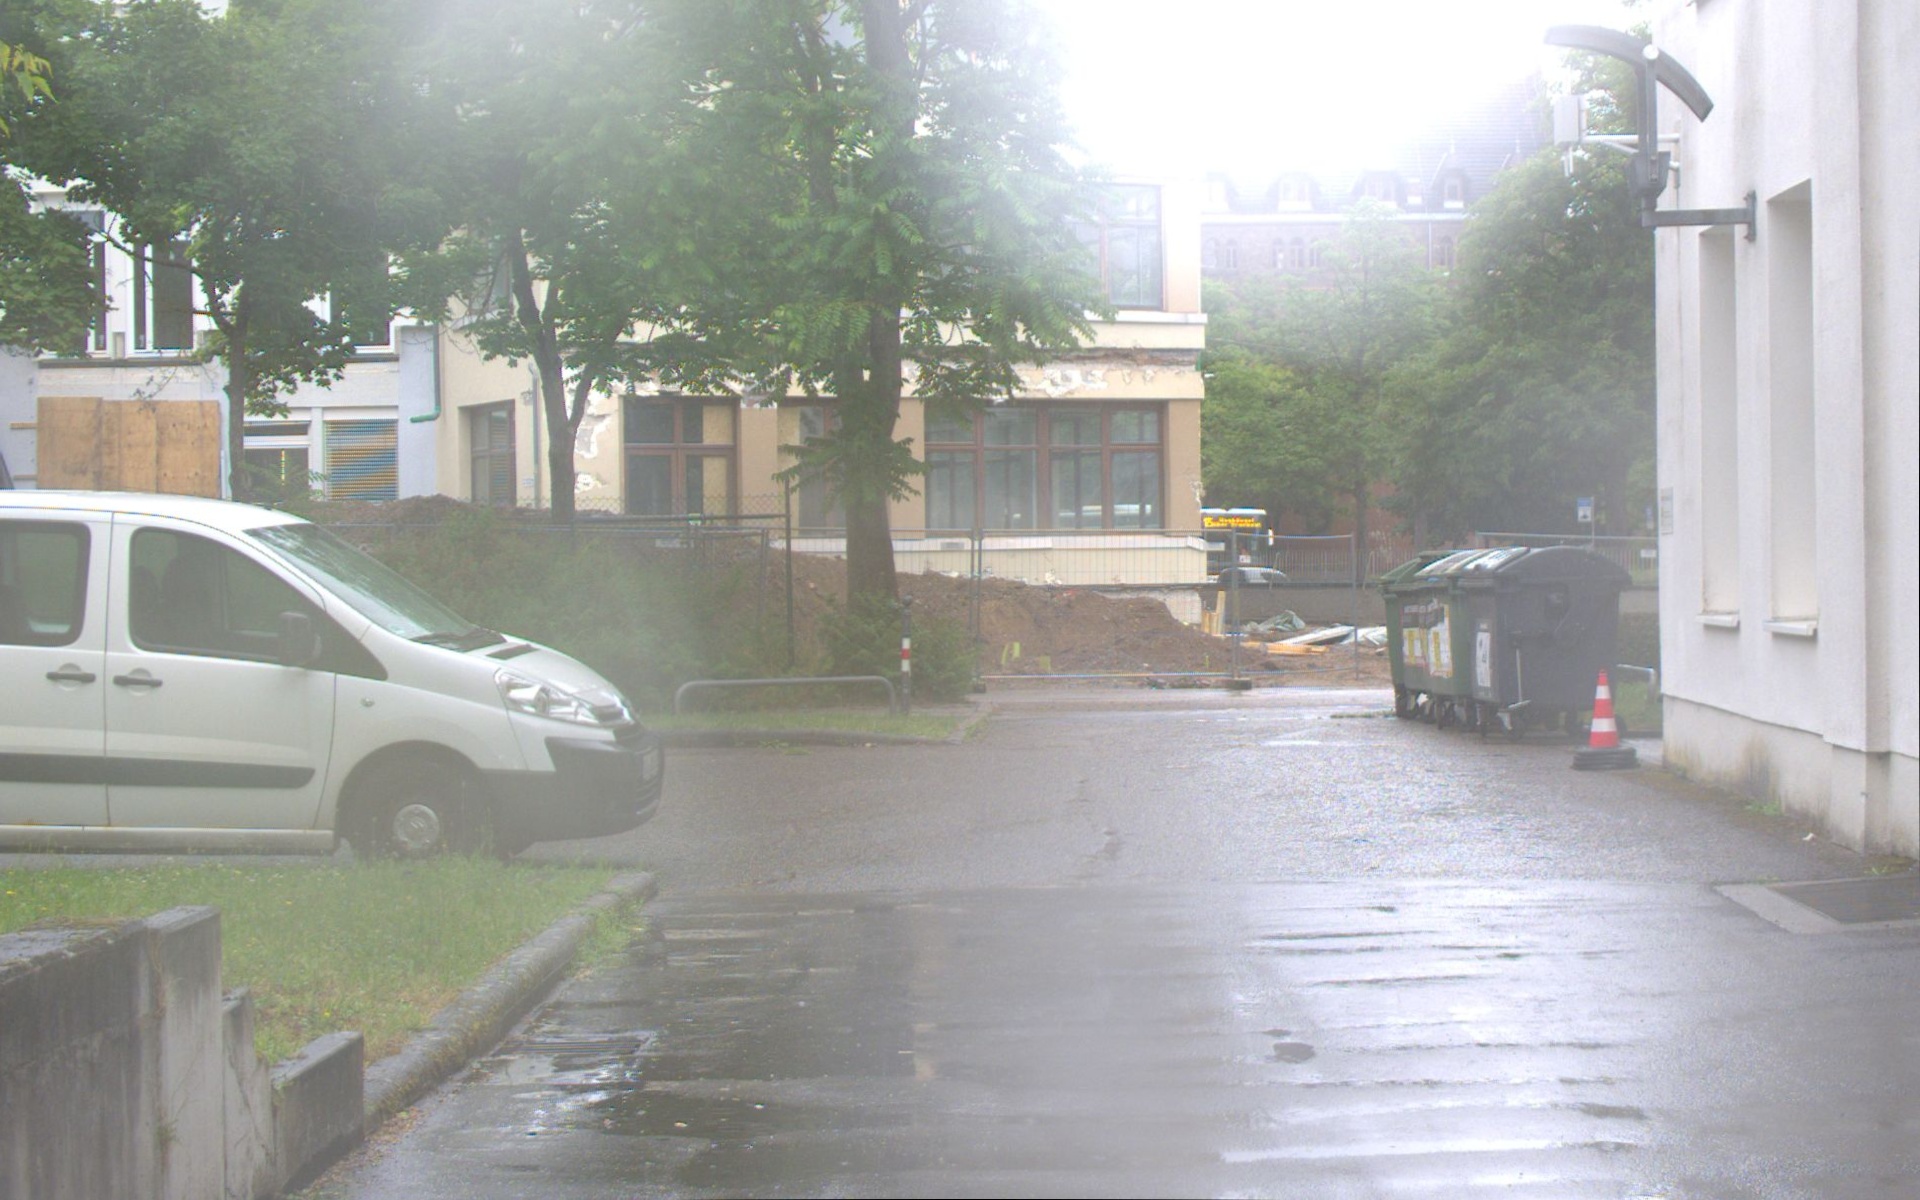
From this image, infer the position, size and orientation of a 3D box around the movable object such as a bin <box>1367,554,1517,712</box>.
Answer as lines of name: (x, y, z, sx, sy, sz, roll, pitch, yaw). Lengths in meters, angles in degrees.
movable object such as a bin: (4.440, 0.314, 31.784, 1.214, 1.432, 1.259, 0, -2, 1)

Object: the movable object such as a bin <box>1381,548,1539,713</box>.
movable object such as a bin: (4.409, 0.280, 30.405, 1.214, 1.432, 1.259, 0, -2, 1)

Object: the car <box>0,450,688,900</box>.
car: (-3.869, 0.346, 16.804, 4.781, 2.007, 2.000, -1, 1, 4)

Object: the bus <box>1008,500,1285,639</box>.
bus: (5.527, -0.815, 105.274, 2.806, 3.861, 12.057, 1, -2, -27)

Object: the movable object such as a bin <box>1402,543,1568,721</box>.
movable object such as a bin: (4.417, 0.281, 29.027, 1.214, 1.463, 1.236, 0, -2, 1)

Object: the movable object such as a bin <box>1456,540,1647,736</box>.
movable object such as a bin: (4.404, 0.291, 25.699, 1.214, 1.432, 1.236, 0, -2, 1)

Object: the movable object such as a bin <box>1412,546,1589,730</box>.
movable object such as a bin: (4.288, 0.313, 27.398, 1.214, 1.432, 1.294, 0, -2, 1)
